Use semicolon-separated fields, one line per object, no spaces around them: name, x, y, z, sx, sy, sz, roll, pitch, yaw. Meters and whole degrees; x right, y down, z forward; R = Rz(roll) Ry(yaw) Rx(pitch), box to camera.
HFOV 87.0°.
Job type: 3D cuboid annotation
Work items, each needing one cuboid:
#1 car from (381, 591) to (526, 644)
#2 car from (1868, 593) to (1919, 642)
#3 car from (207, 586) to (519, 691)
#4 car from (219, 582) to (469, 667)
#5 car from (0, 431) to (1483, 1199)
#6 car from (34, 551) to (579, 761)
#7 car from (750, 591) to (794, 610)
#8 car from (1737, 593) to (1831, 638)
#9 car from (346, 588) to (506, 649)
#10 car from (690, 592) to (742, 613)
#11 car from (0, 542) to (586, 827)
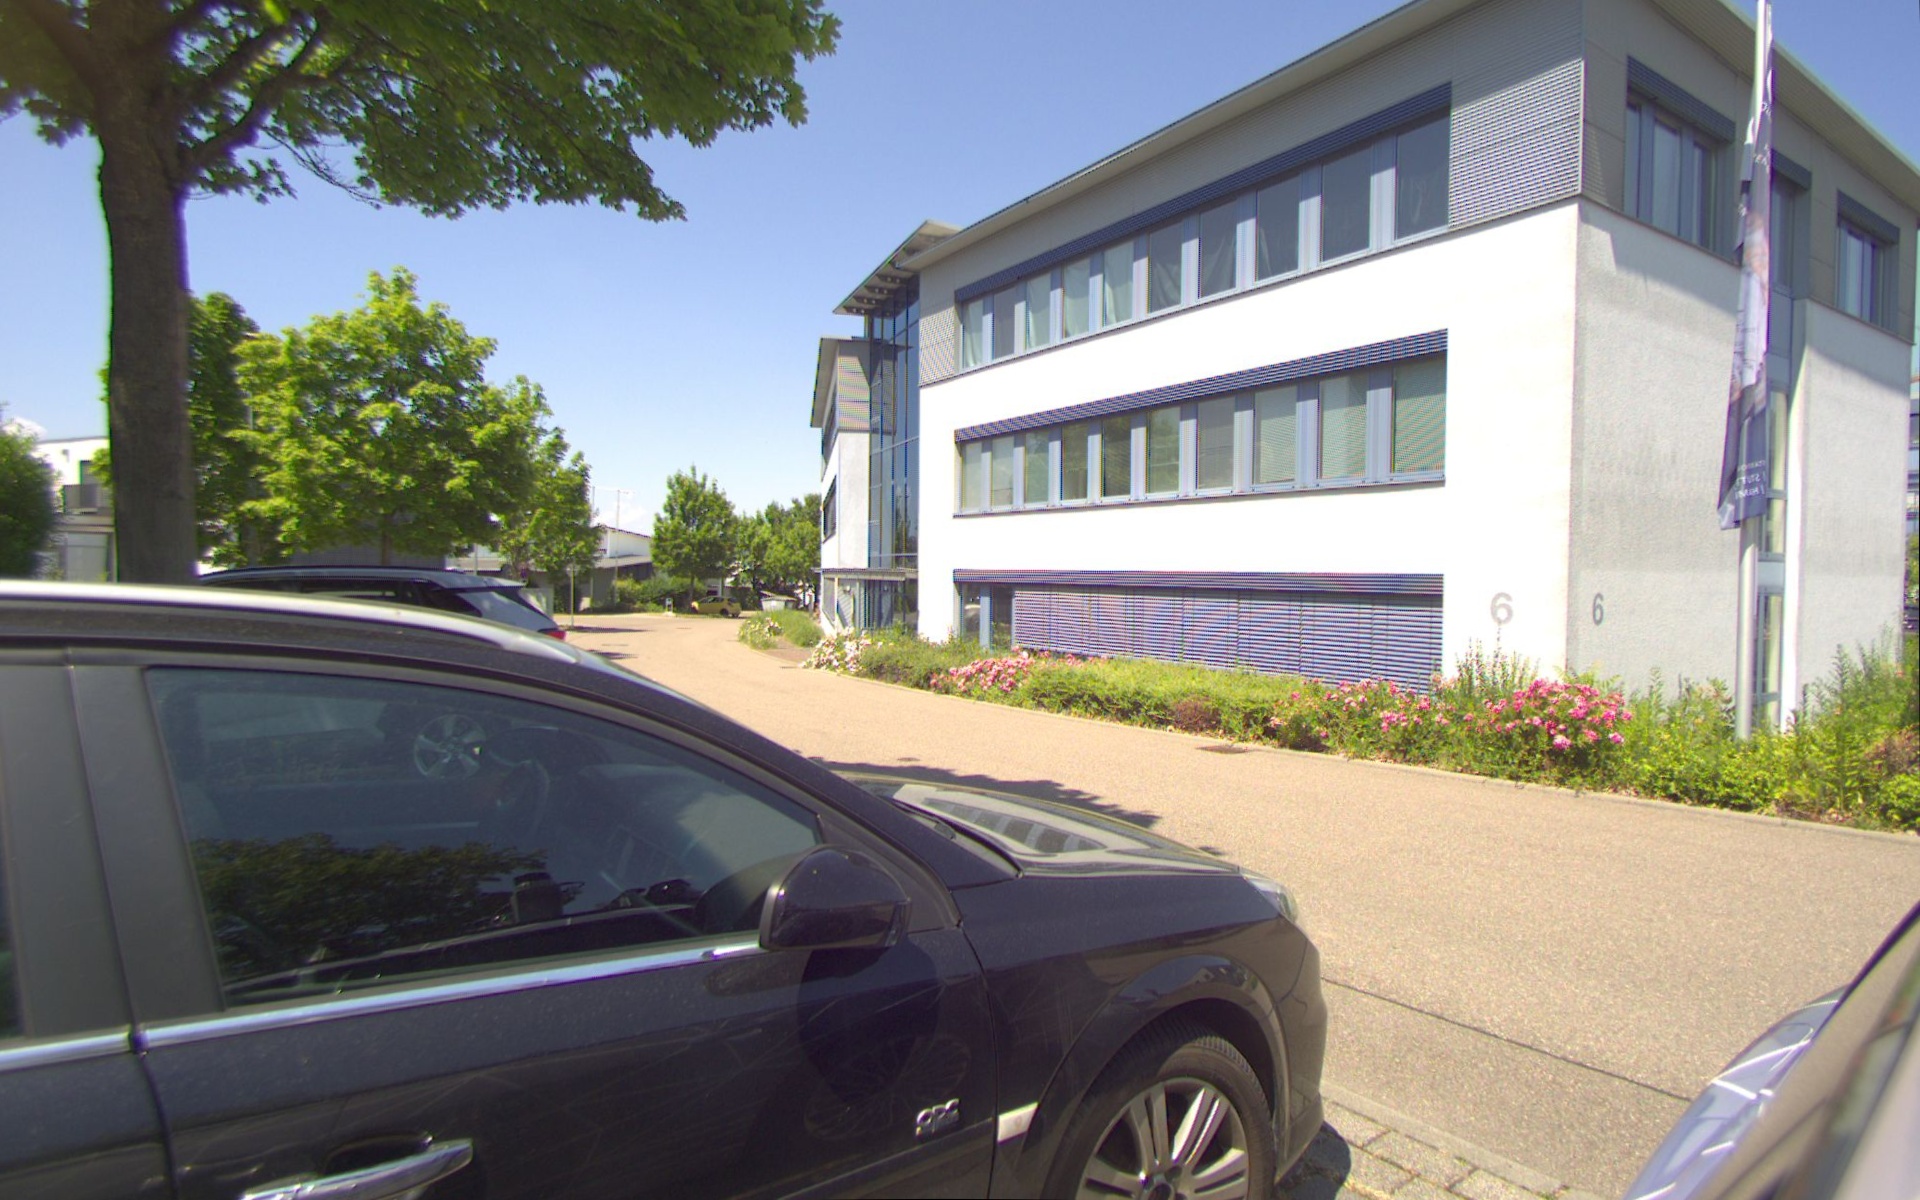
car;-14.680;0.503;29.525;3.514;1.461;1.639;1;-1;-17
car;32.688;0.552;34.516;3.925;1.565;1.788;-1;1;-36
car;-9.359;0.587;16.221;4.092;1.505;1.663;1;-1;-27
car;-12.412;0.499;20.689;4.090;1.625;1.664;1;-1;-21
car;-1.033;0.629;1.837;4.480;1.569;1.763;0;0;-37
car;-6.073;0.472;9.867;4.122;1.664;1.661;1;-1;-35
car;-15.286;0.024;82.343;3.172;1.460;1.580;0;0;18
car;30.583;0.531;37.543;3.925;1.565;1.788;-1;1;-36
car;-14.237;0.497;27.176;3.514;1.545;1.639;1;-1;-17
car;-17.151;0.191;71.144;3.172;1.460;1.580;0;0;18
car;-5.168;0.508;7.361;4.249;1.664;1.857;1;-1;-35
